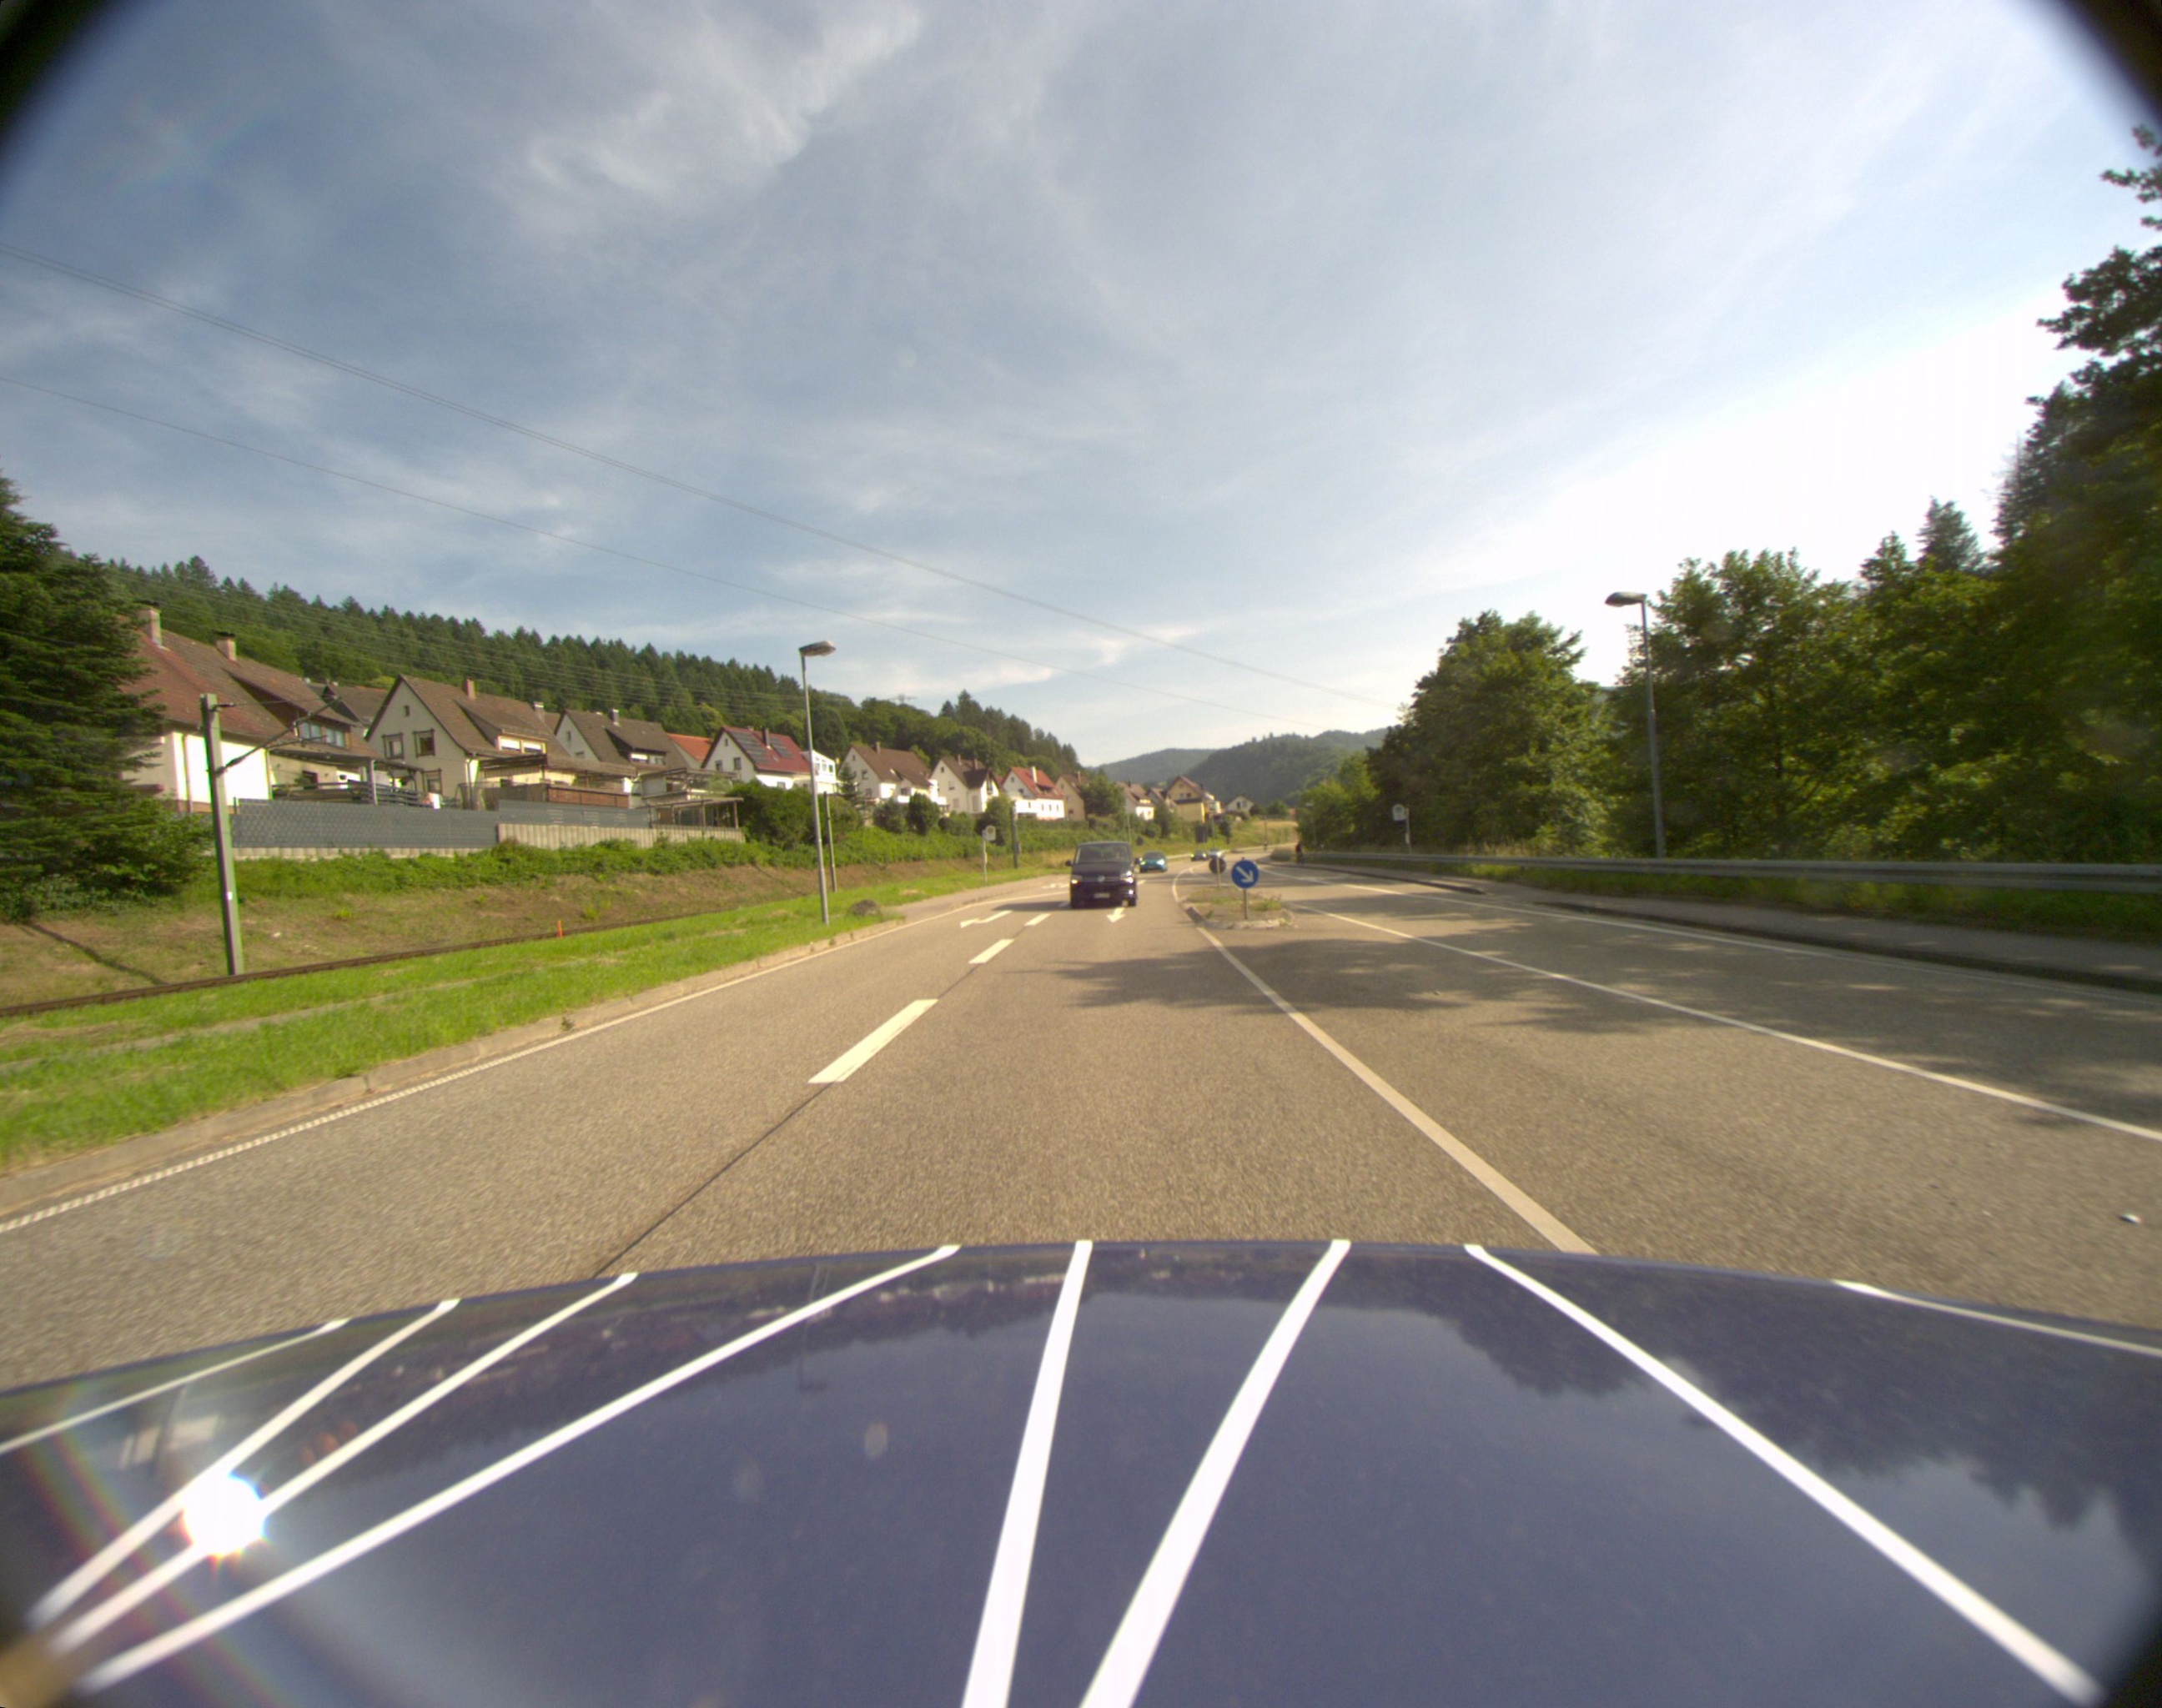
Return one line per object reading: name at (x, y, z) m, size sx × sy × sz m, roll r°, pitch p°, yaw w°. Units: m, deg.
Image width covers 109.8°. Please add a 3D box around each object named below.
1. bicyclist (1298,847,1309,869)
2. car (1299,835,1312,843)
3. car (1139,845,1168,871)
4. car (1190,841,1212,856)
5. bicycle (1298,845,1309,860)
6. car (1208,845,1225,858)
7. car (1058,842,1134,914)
bicyclist at (16.878, 0.288, 57.631) m, size 0.558 × 1.577 × 1.037 m, roll -6°, pitch -1°, yaw 14°
car at (47.134, -3.161, 159.429) m, size 1.892 × 1.480 × 4.005 m, roll -3°, pitch 1°, yaw 27°
car at (5.370, 0.291, 55.639) m, size 1.884 × 1.735 × 4.181 m, roll -3°, pitch 0°, yaw 8°
car at (14.498, -0.683, 91.424) m, size 1.882 × 1.735 × 4.183 m, roll -2°, pitch 0°, yaw 18°
bicycle at (16.840, -0.128, 57.540) m, size 0.558 × 1.039 × 2.232 m, roll -6°, pitch -1°, yaw 13°
car at (18.749, -0.357, 105.101) m, size 1.883 × 1.735 × 4.182 m, roll -2°, pitch 0°, yaw 15°
car at (0.538, 0.626, 23.171) m, size 2.018 × 1.905 × 4.312 m, roll -3°, pitch 1°, yaw 3°
